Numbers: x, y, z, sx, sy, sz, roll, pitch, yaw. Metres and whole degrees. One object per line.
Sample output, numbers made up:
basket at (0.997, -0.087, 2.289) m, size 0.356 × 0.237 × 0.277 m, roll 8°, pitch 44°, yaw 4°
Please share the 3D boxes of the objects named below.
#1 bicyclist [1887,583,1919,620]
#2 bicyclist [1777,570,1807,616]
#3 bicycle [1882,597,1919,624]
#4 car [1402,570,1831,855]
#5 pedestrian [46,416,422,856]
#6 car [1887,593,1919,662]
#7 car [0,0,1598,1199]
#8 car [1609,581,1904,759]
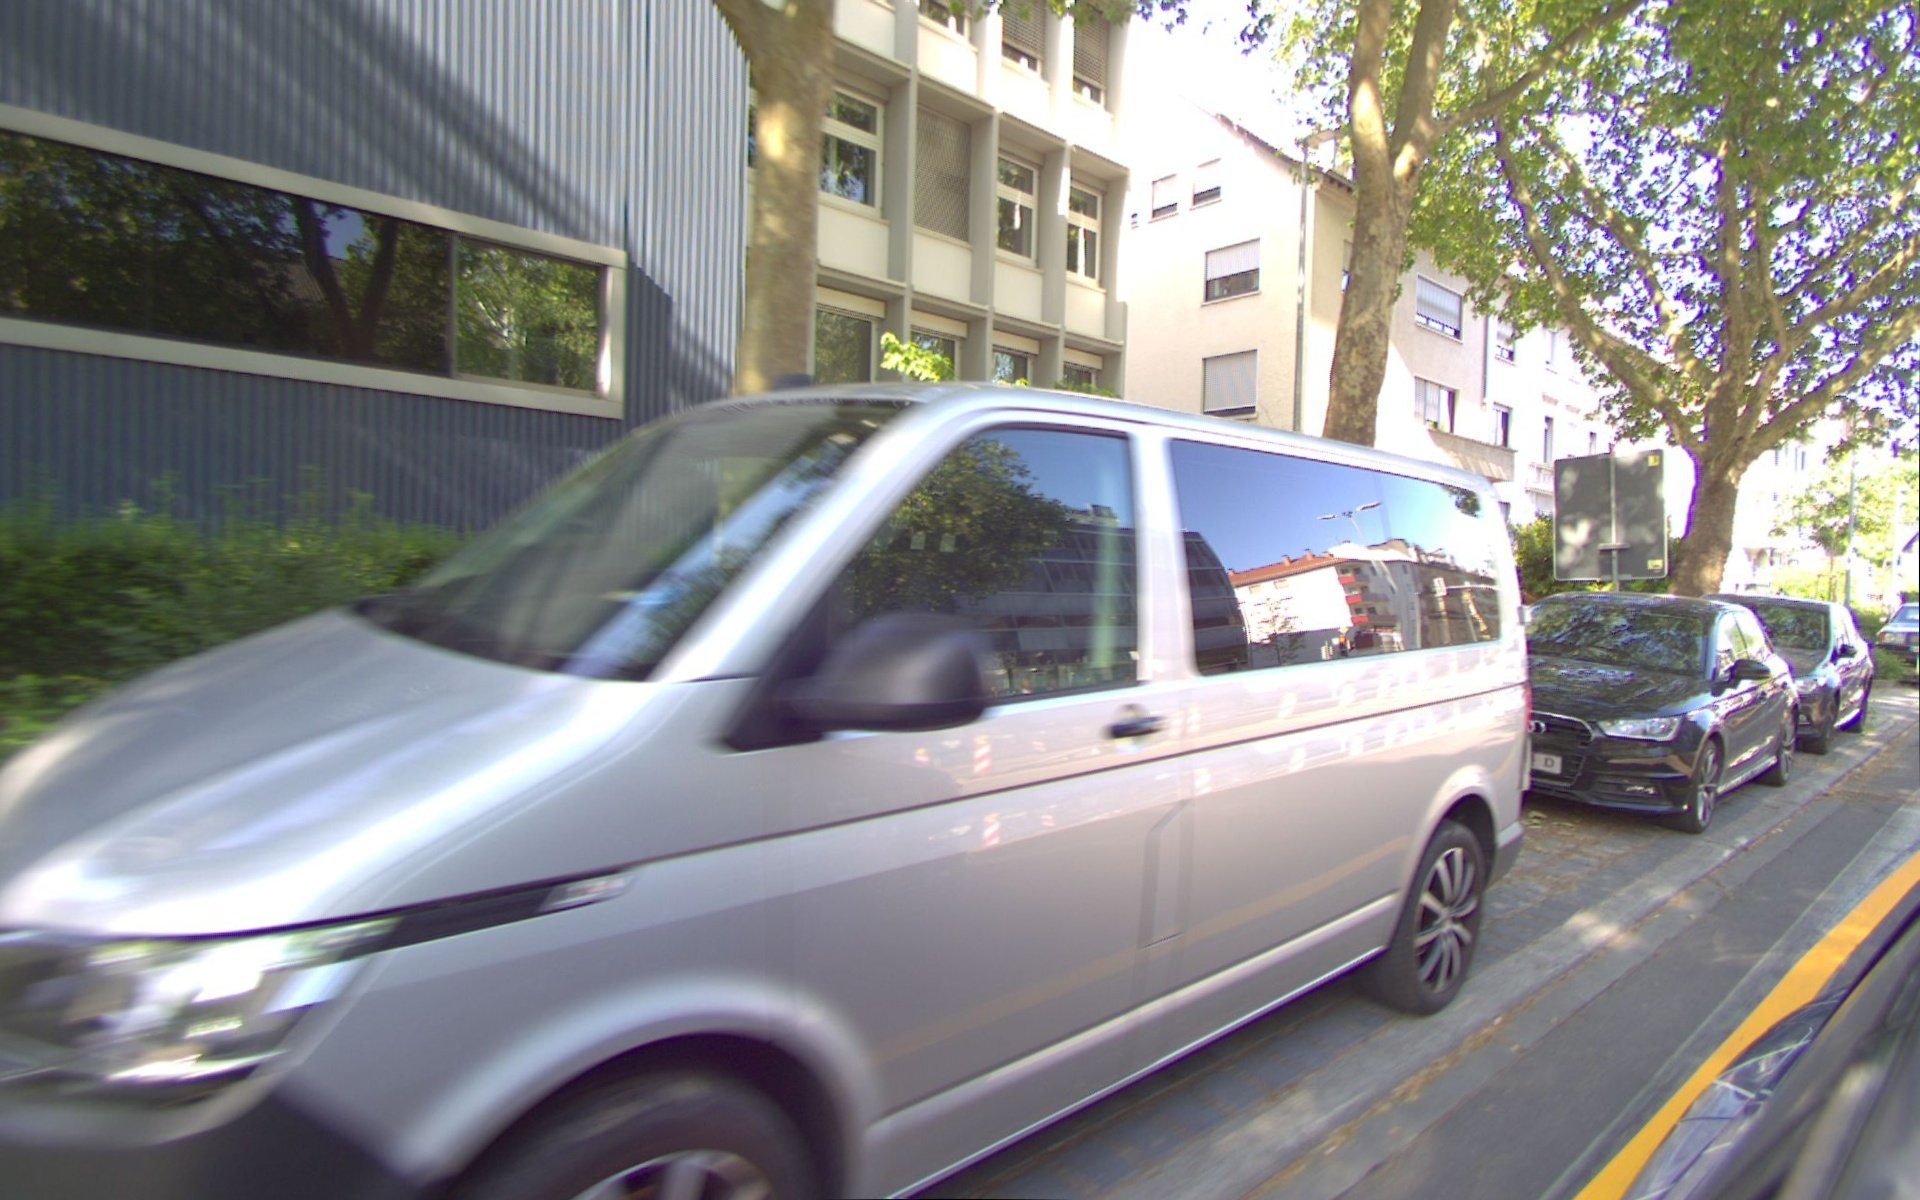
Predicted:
bicyclist at (40.037, 0.052, 42.855) m, size 0.853 × 1.518 × 0.727 m, roll 3°, pitch 1°, yaw -11°
bicyclist at (33.676, -0.302, 40.968) m, size 1.052 × 1.843 × 0.725 m, roll 0°, pitch 1°, yaw -40°
bicycle at (40.103, 0.448, 42.845) m, size 1.652 × 1.112 × 0.692 m, roll 2°, pitch 0°, yaw -11°
car at (5.030, 0.593, 7.518) m, size 4.057 × 1.559 × 1.660 m, roll 0°, pitch 1°, yaw -42°
pedestrian at (-3.146, 0.120, 4.426) m, size 1.246 × 1.622 × 0.728 m, roll 0°, pitch 1°, yaw -44°
car at (22.846, 0.601, 23.294) m, size 4.859 × 1.498 × 1.854 m, roll 0°, pitch 1°, yaw -43°
car at (0.044, 0.318, 3.239) m, size 5.183 × 1.971 × 2.029 m, roll 0°, pitch 2°, yaw -42°
car at (8.636, 0.590, 10.846) m, size 4.177 × 1.527 × 1.766 m, roll 0°, pitch 1°, yaw -42°
